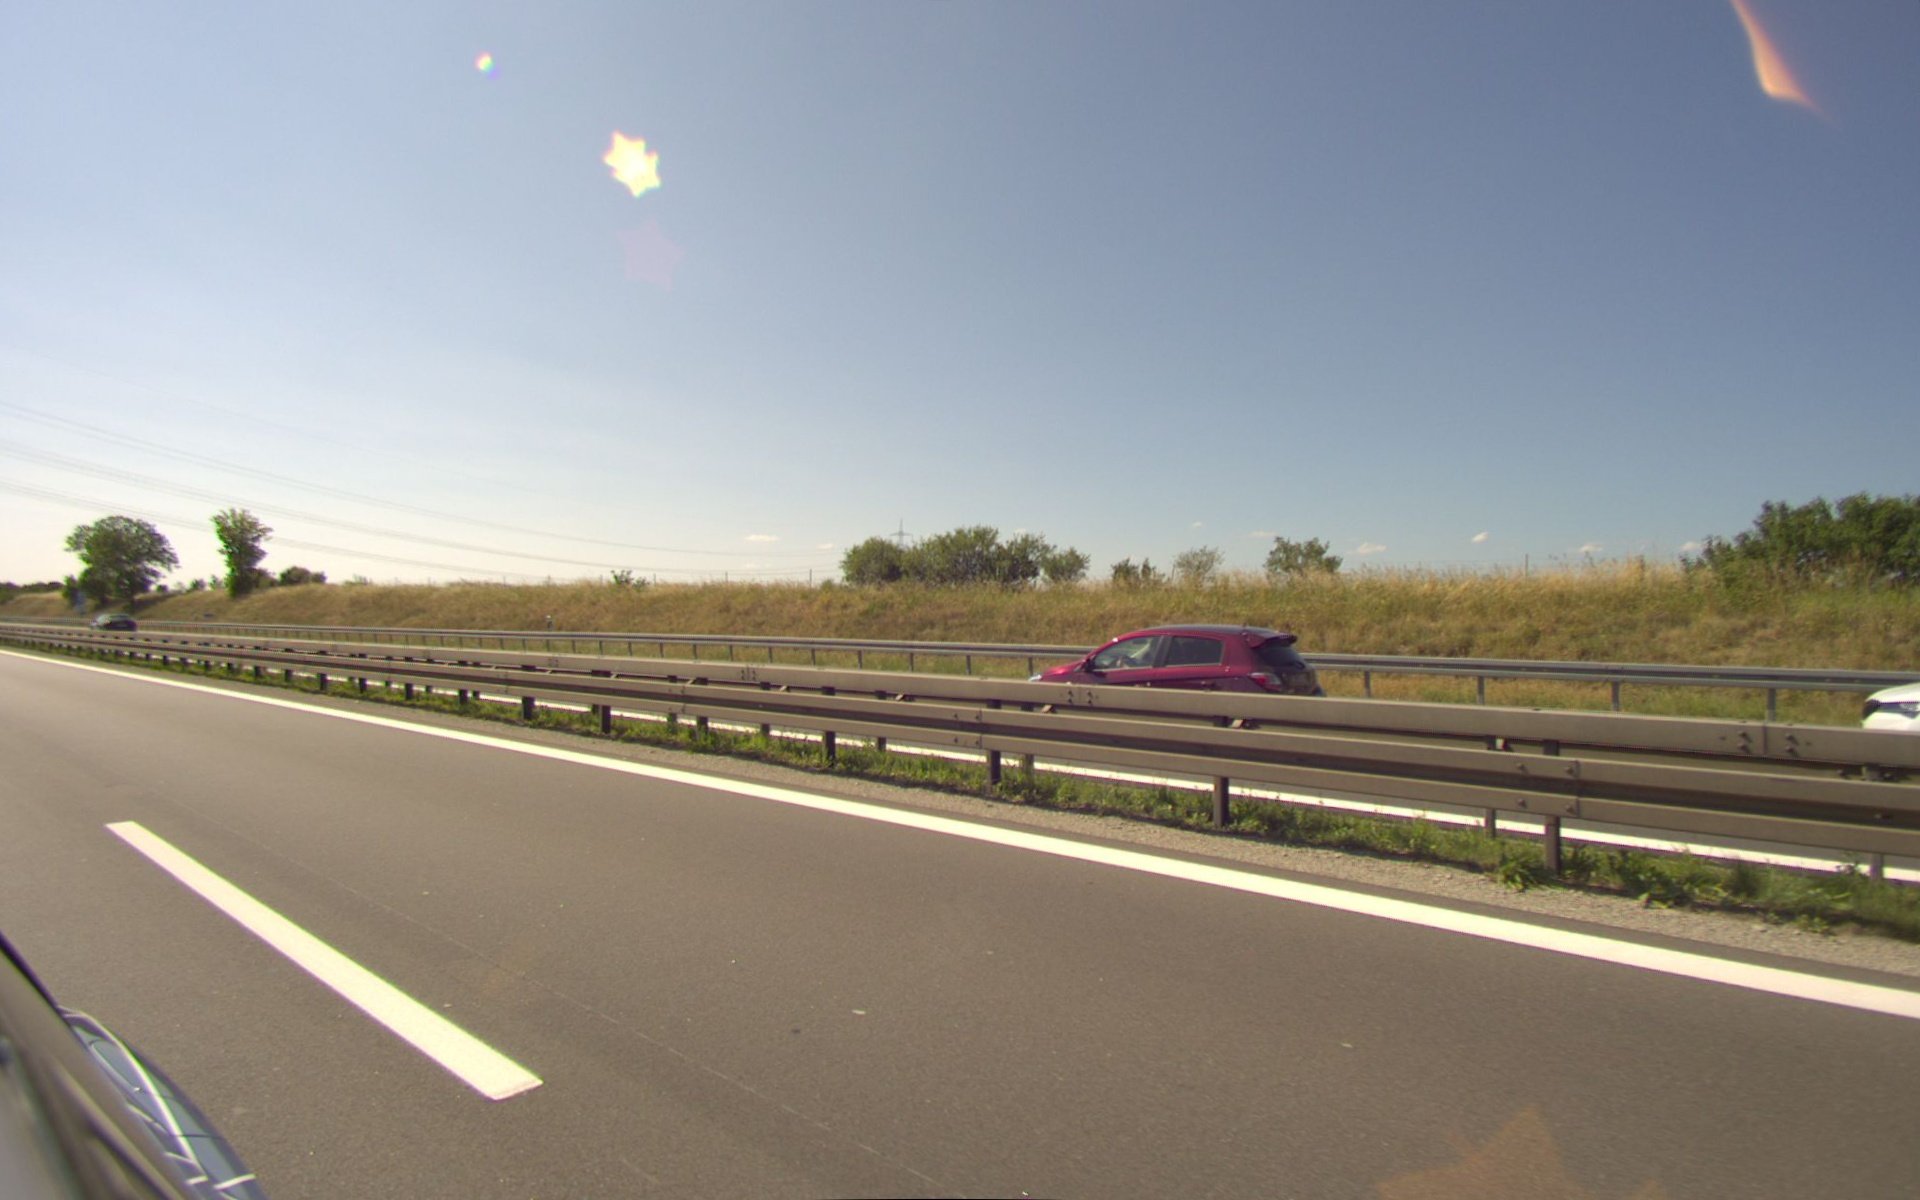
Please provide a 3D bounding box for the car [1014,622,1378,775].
[{"bbox_3d":[2.703,1.038,12.173,3.998,1.542,1.599,-1,-2,41],"label":"car"}]

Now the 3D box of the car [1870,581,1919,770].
[{"bbox_3d":[11.806,0.730,9.193,5.181,1.859,1.925,-1,-2,41],"label":"car"}]

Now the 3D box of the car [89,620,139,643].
[{"bbox_3d":[-55.788,2.047,66.710,5.238,1.478,1.707,-1,-1,41],"label":"car"}]
